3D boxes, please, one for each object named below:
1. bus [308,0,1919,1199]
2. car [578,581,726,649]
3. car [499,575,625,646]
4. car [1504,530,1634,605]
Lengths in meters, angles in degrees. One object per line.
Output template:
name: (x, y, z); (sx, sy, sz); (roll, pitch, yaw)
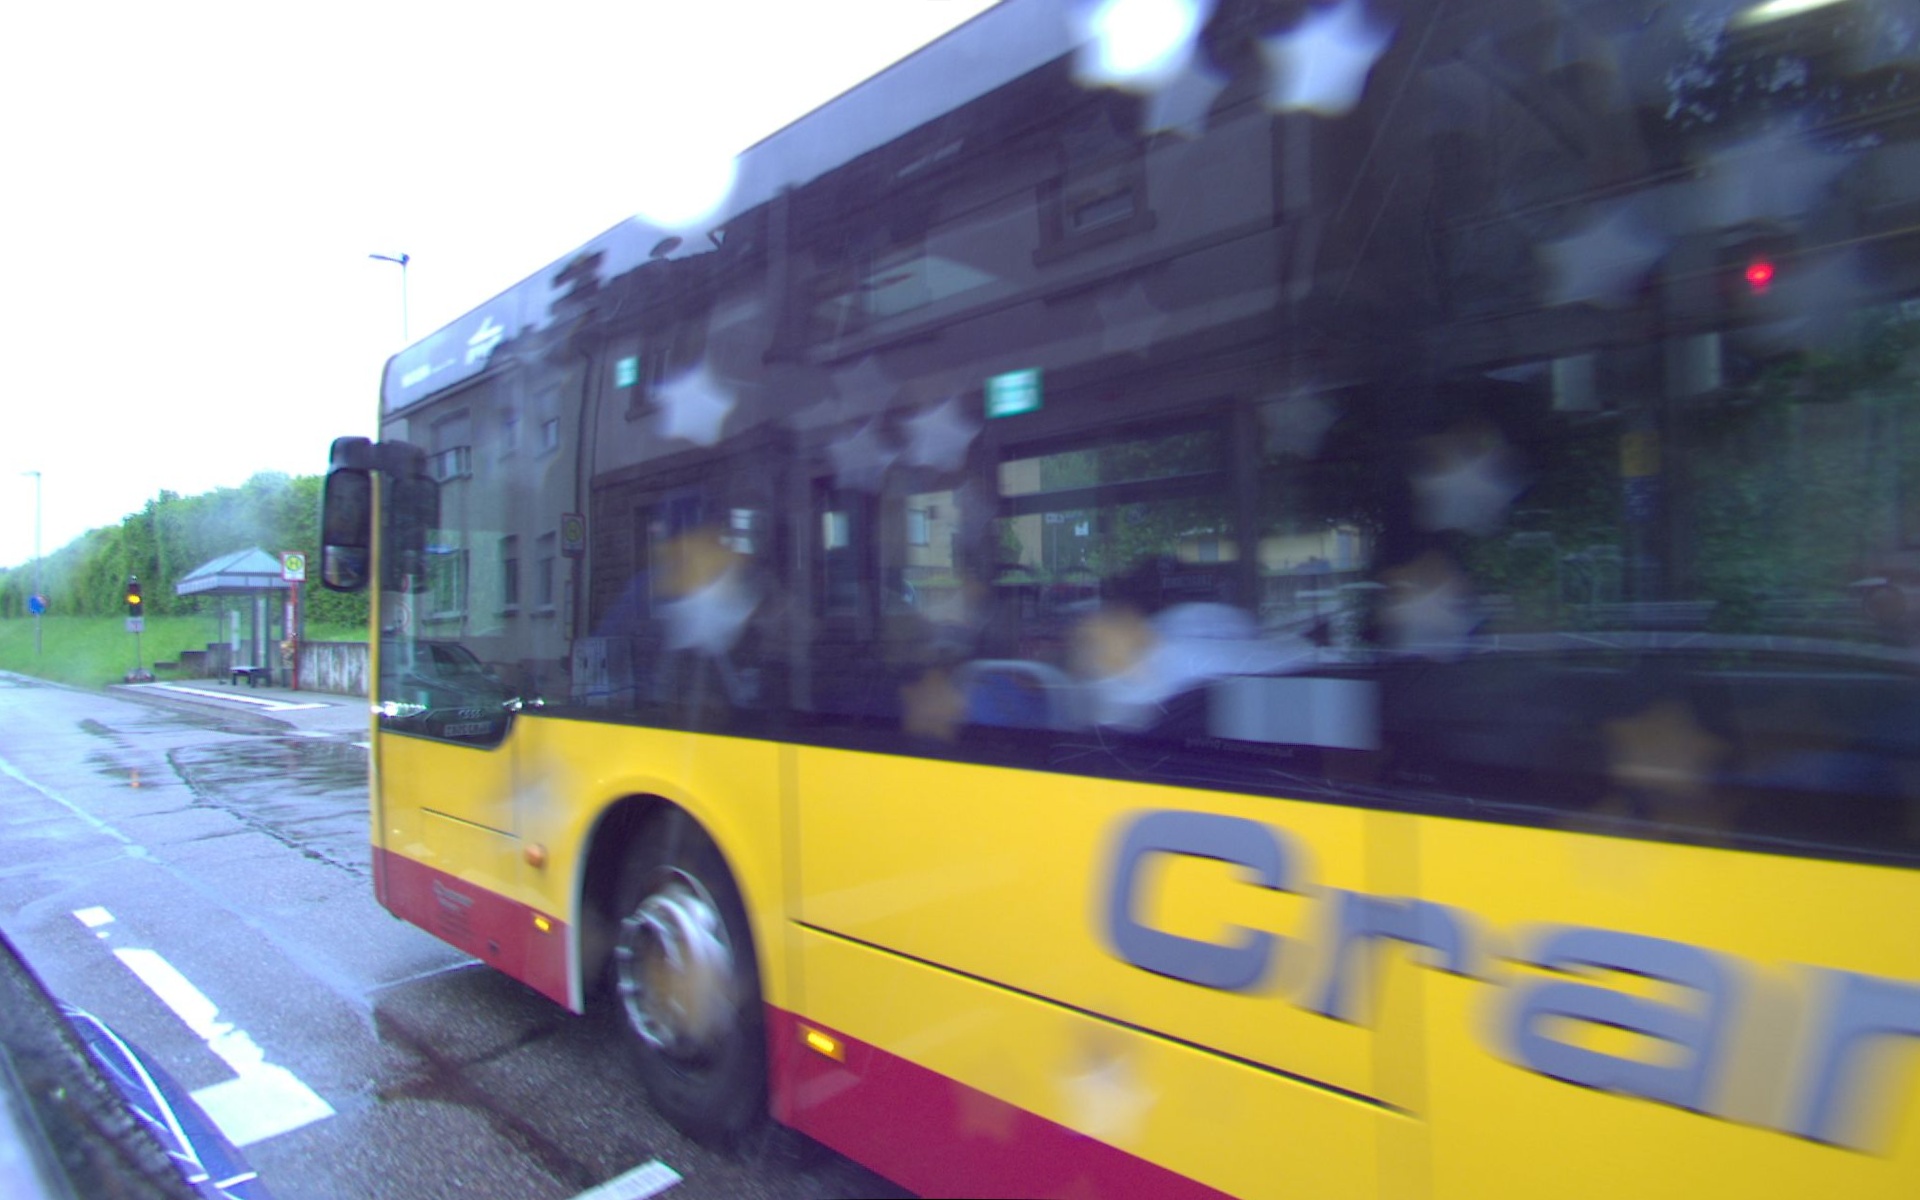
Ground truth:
bus: (2.281, -0.059, 1.526); (11.943, 2.961, 2.775); (-3, -1, 44)
car: (-8.454, 0.411, 27.614); (4.186, 1.728, 1.973); (-2, 0, 41)
car: (-12.506, 0.336, 31.707); (4.186, 2.078, 1.973); (-2, 0, 41)
car: (16.236, -0.886, 26.913); (3.943, 1.518, 2.001); (-10, 6, -44)
